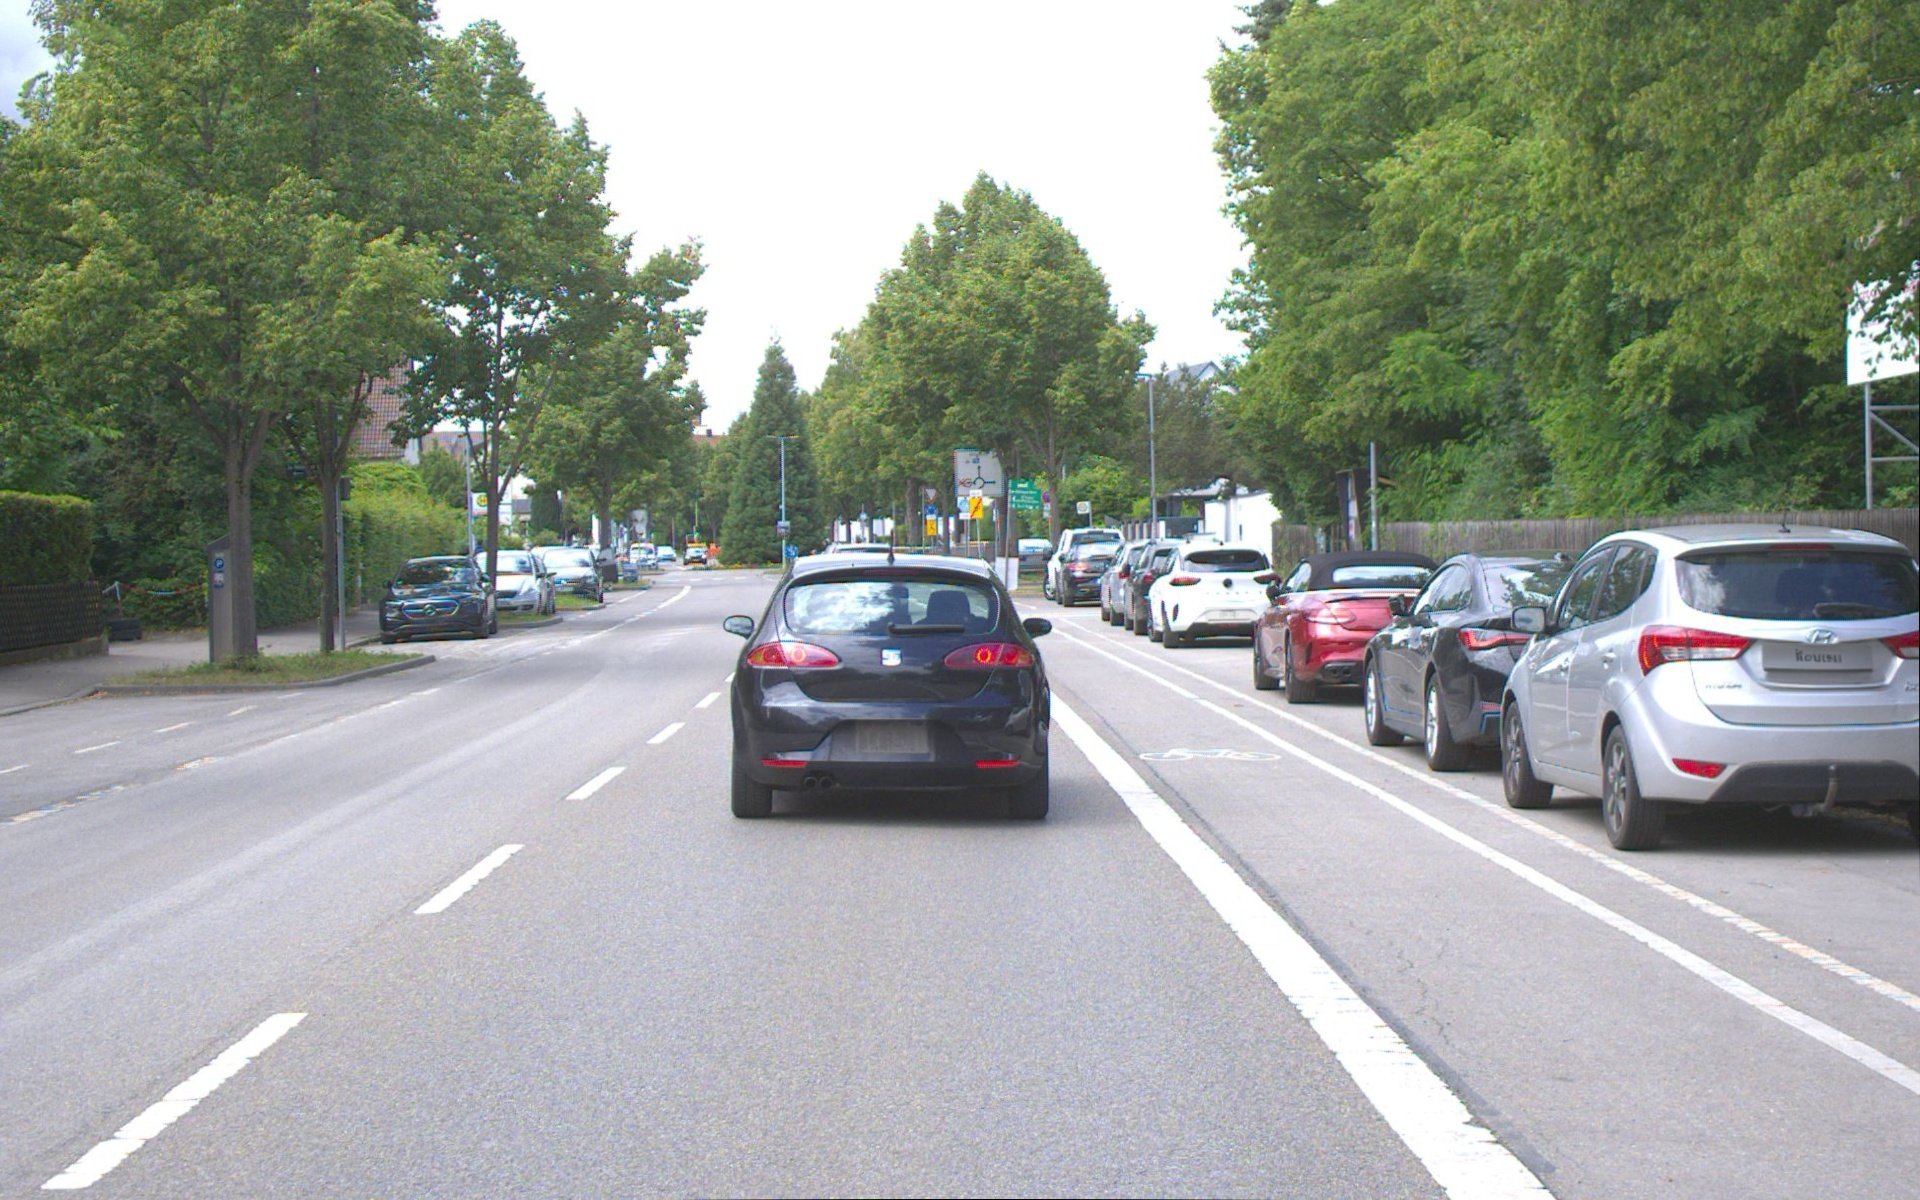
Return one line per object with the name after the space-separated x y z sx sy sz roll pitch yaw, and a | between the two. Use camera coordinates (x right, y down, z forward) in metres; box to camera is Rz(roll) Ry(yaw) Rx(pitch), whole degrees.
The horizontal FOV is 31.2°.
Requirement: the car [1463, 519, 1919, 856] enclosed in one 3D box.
4.056 0.369 18.474 1.862 1.584 4.422 0 1 -3 | car

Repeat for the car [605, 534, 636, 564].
-23.273 -3.479 235.336 2.029 1.964 4.001 -2 1 -6 | car

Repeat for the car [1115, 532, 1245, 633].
3.460 -0.314 54.689 1.702 1.505 4.538 0 2 -1 | car

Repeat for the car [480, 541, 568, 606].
-10.827 -0.680 85.659 1.993 1.480 4.891 -2 1 -6 | car

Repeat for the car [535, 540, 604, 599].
-10.736 -0.858 94.706 1.677 1.546 4.273 -2 1 -4 | car

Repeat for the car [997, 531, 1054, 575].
2.210 -1.590 116.569 1.611 1.372 4.387 -2 0 -3 | car

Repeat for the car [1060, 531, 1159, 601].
3.147 -0.745 73.243 1.863 1.412 4.603 -1 1 0 | car

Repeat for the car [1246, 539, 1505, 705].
3.934 0.161 33.254 1.859 1.408 4.444 1 2 -1 | car

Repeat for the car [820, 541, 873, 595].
-4.420 -1.260 133.723 1.993 2.007 4.000 -1 1 -2 | car

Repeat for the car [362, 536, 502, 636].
-9.559 -0.295 62.599 2.095 1.641 5.039 -2 2 -5 | car

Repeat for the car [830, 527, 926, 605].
-1.791 -0.753 74.351 1.993 1.607 4.000 -1 1 -2 | car

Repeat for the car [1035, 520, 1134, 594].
2.850 -0.992 79.663 1.900 1.637 4.117 -1 1 -3 | car

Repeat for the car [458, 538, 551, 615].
-10.159 -0.547 76.878 1.718 1.607 3.911 -2 1 -3 | car

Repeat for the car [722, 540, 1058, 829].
-0.377 0.405 19.871 1.732 1.481 4.000 1 1 0 | car

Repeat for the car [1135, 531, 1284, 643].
3.511 -0.200 48.962 1.768 1.505 4.031 -1 1 0 | car

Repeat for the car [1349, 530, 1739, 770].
3.962 0.290 24.100 1.816 1.510 4.680 0 1 -1 | car

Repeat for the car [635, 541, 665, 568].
-19.604 -2.898 217.480 1.797 1.596 4.001 -2 1 -4 | car

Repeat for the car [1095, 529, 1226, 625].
3.460 -0.416 60.133 1.861 1.605 4.687 0 1 -2 | car
